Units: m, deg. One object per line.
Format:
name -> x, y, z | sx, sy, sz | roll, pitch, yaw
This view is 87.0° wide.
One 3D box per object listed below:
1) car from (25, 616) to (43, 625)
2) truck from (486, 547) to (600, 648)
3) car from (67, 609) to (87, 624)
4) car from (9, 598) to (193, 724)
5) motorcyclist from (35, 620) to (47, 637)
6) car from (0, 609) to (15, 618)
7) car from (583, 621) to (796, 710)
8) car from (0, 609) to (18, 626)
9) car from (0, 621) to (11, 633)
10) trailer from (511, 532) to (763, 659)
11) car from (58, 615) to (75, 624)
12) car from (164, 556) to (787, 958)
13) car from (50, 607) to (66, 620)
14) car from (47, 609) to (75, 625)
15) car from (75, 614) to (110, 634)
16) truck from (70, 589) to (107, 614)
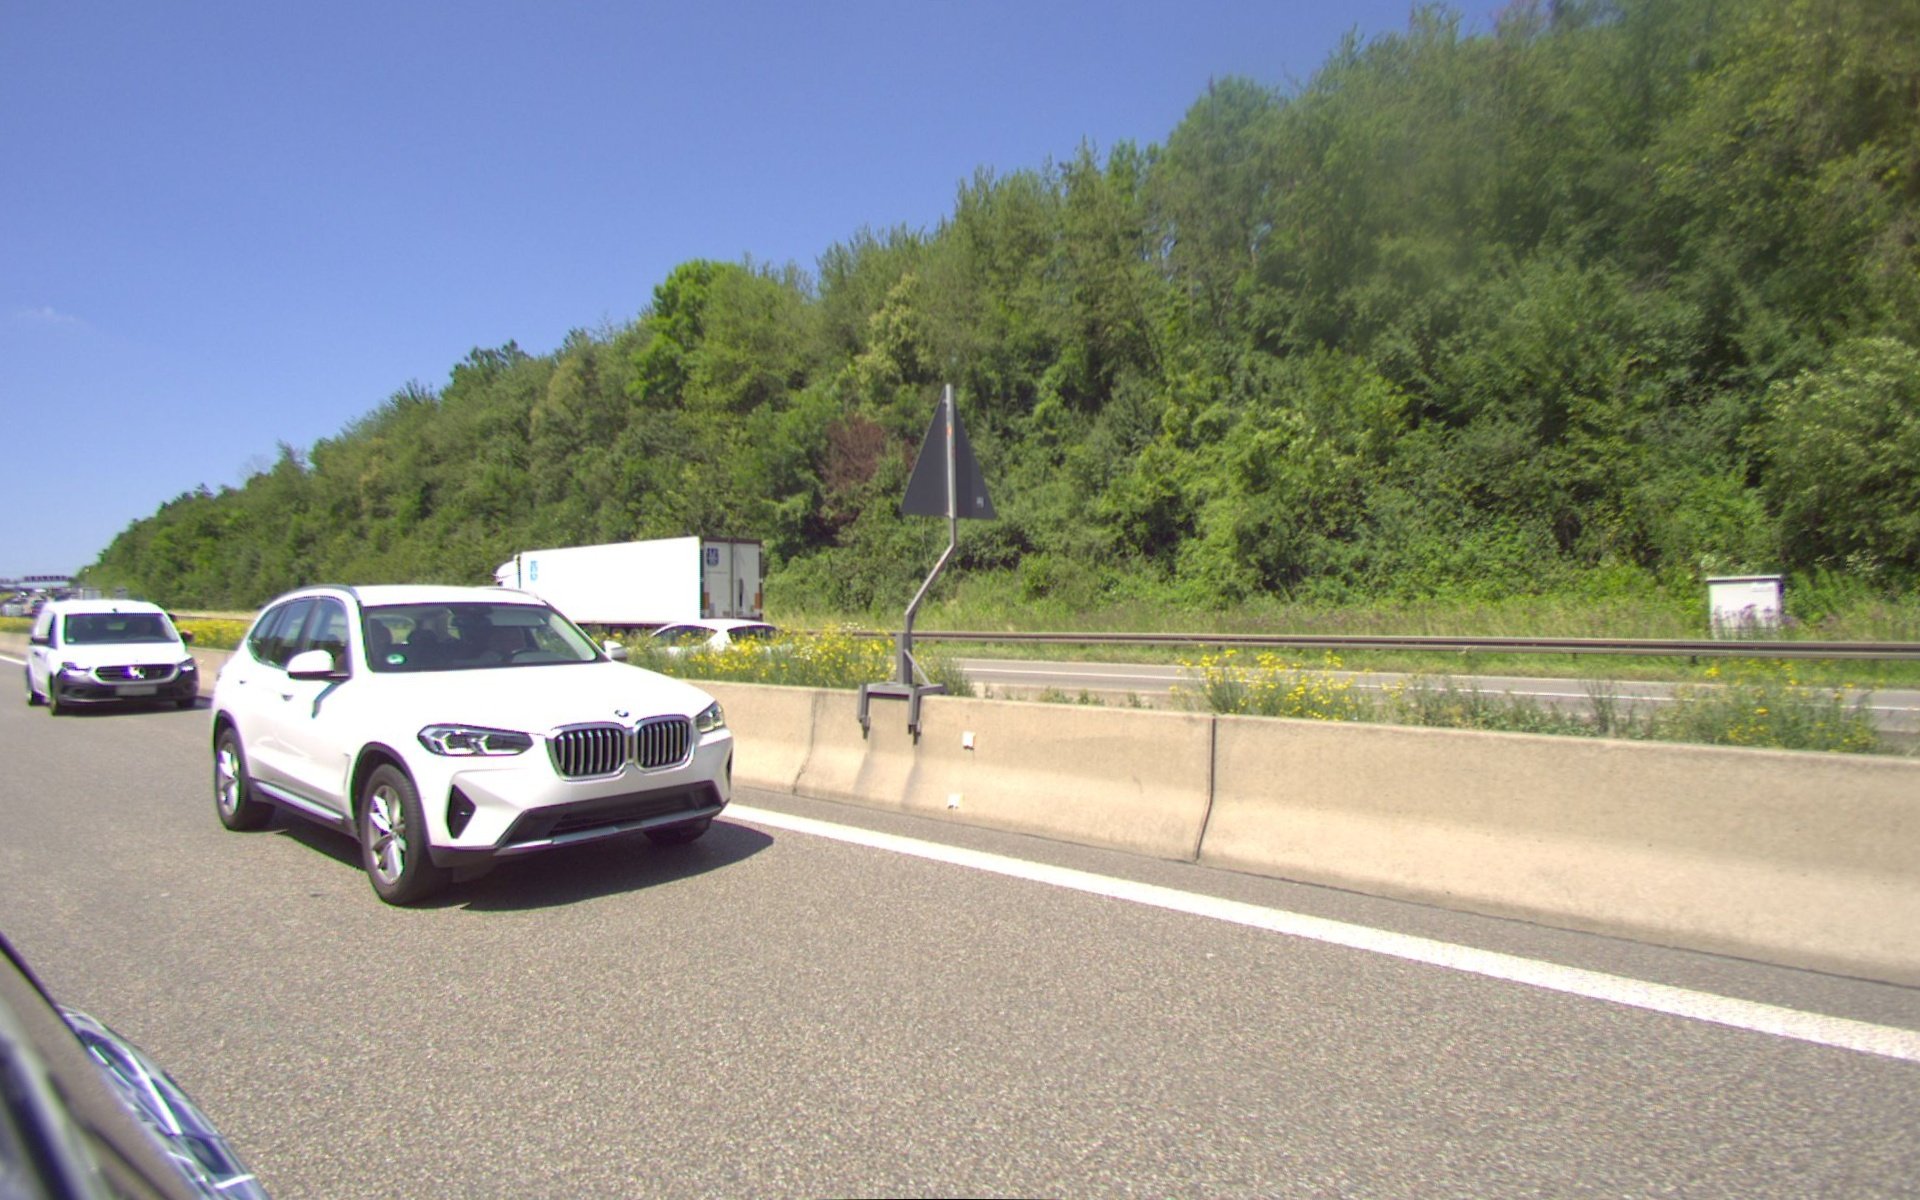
car -> -138.672, 3.072, 151.556 | 3.507, 1.399, 1.651 | -2, -1, 42
truck -> -18.200, -0.090, 44.096 | 5.202, 4.120, 2.661 | 0, 0, 42
car -> -117.079, 2.153, 134.173 | 4.000, 2.029, 1.615 | 0, 0, 43
car -> -14.420, 0.931, 16.893 | 4.673, 1.826, 1.746 | -2, -1, 42
motorcyclist -> -72.600, 2.268, 79.953 | 0.577, 1.344, 0.616 | -1, -1, 40
car -> -175.882, 2.457, 186.804 | 3.999, 1.680, 1.897 | 0, 0, 42
car -> -4.955, 1.103, 18.263 | 4.134, 1.397, 1.607 | -1, -1, 39
car -> -118.705, 2.203, 125.886 | 4.900, 2.029, 1.972 | 0, 0, 43
car -> -130.666, 3.648, 137.652 | 4.000, 1.564, 1.972 | -1, -1, 43
trailer -> -13.046, -0.132, 39.441 | 13.928, 4.239, 2.686 | 0, 0, 42
car -> -135.976, 2.998, 154.057 | 3.507, 1.399, 1.597 | -2, -1, 42
car -> -3.456, 0.718, 6.631 | 4.952, 1.707, 1.845 | -2, -1, 41
car -> -173.637, 2.646, 194.786 | 4.000, 2.448, 1.972 | 0, 0, 43
car -> -101.624, 1.874, 114.369 | 3.999, 1.763, 1.972 | -1, -1, 42
car -> -78.030, 2.168, 91.014 | 3.999, 1.741, 1.972 | -1, -1, 42
truck -> -152.158, 0.309, 176.552 | 13.796, 4.226, 3.668 | 0, 0, 44
